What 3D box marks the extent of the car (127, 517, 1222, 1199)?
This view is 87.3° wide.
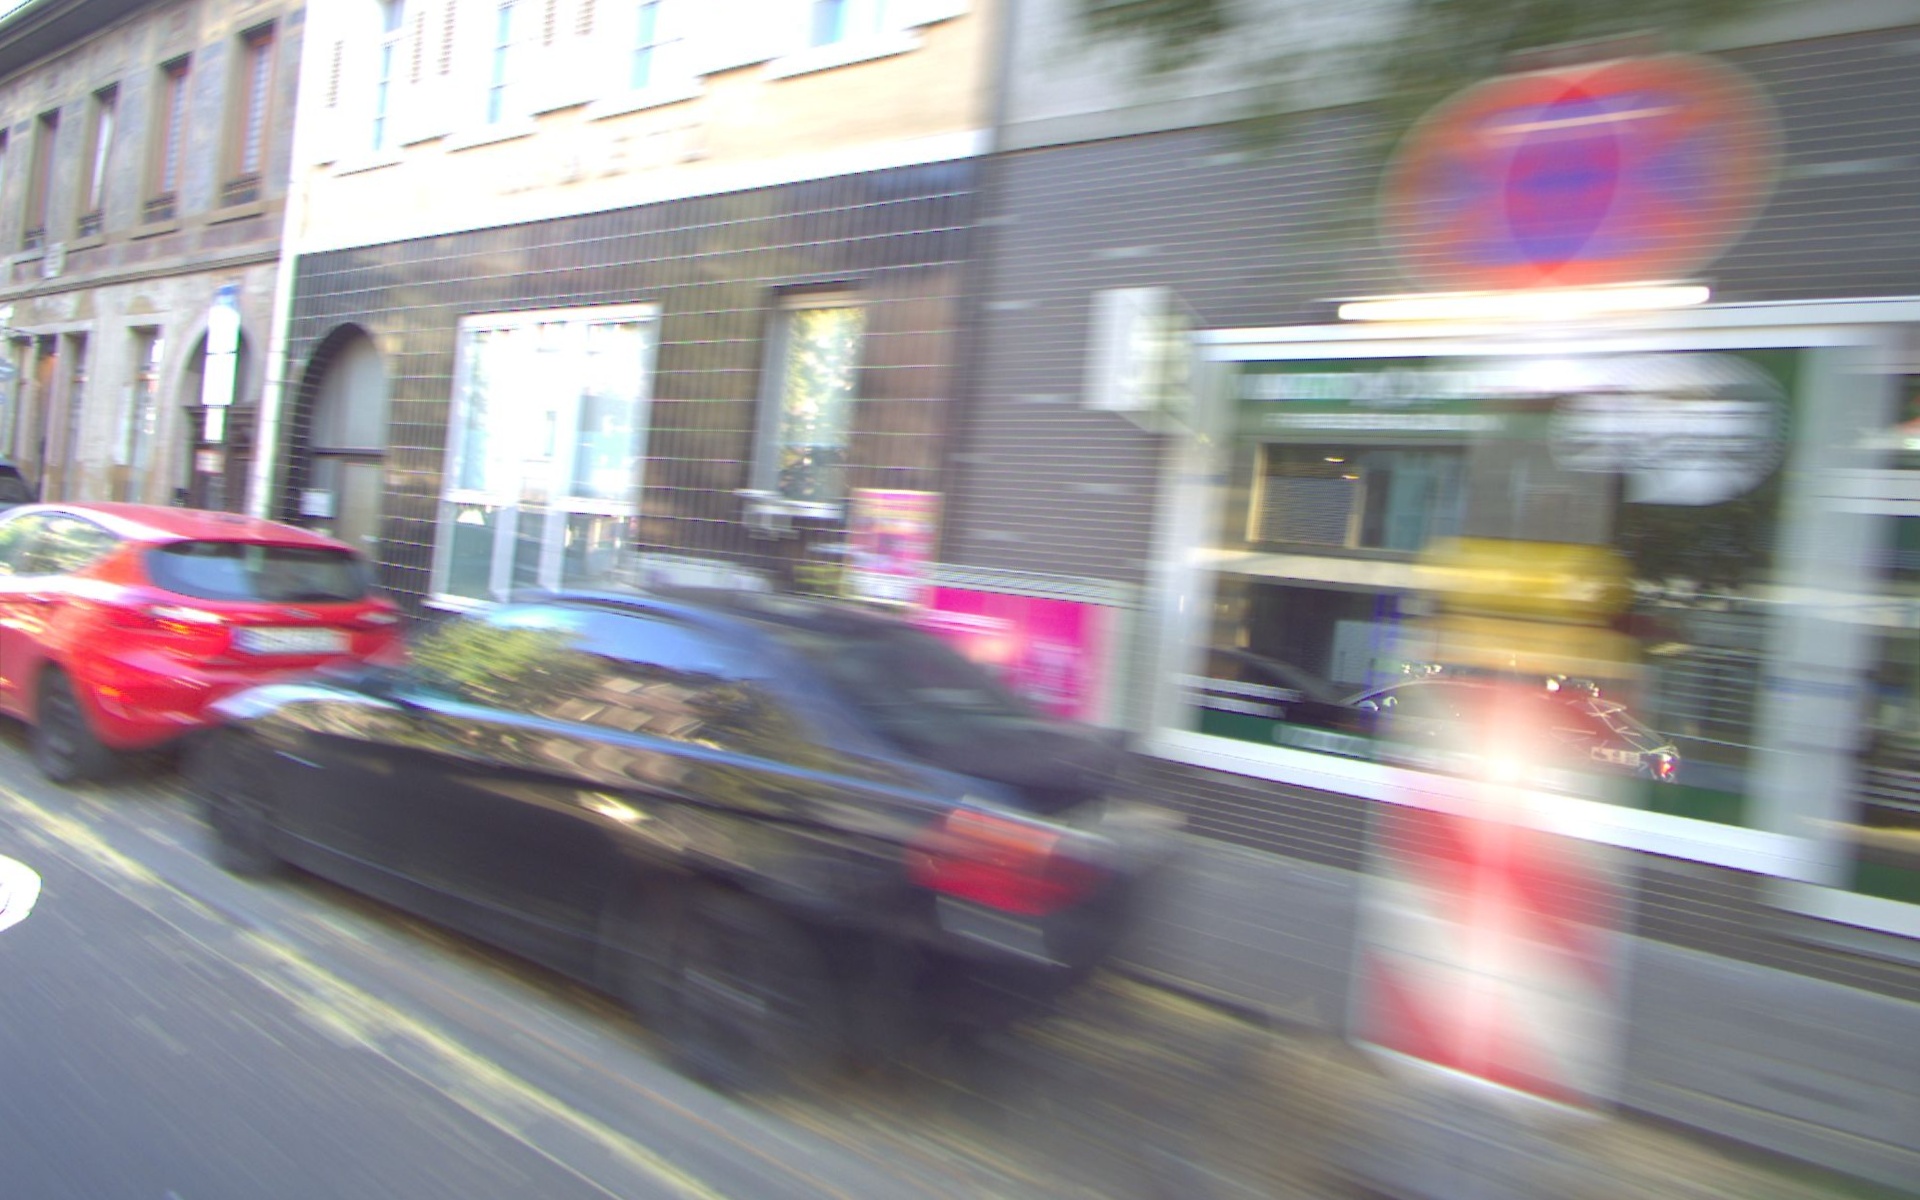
[{"bbox_3d":[-1.347,0.582,4.333,4.348,1.409,1.953,7,2,29],"label":"car"}]

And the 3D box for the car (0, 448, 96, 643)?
[{"bbox_3d":[-10.835,-0.735,10.039,4.633,1.760,2.039,7,2,32],"label":"car"}]

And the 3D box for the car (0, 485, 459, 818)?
[{"bbox_3d":[-5.283,0.123,6.480,3.833,1.507,1.731,7,2,29],"label":"car"}]
